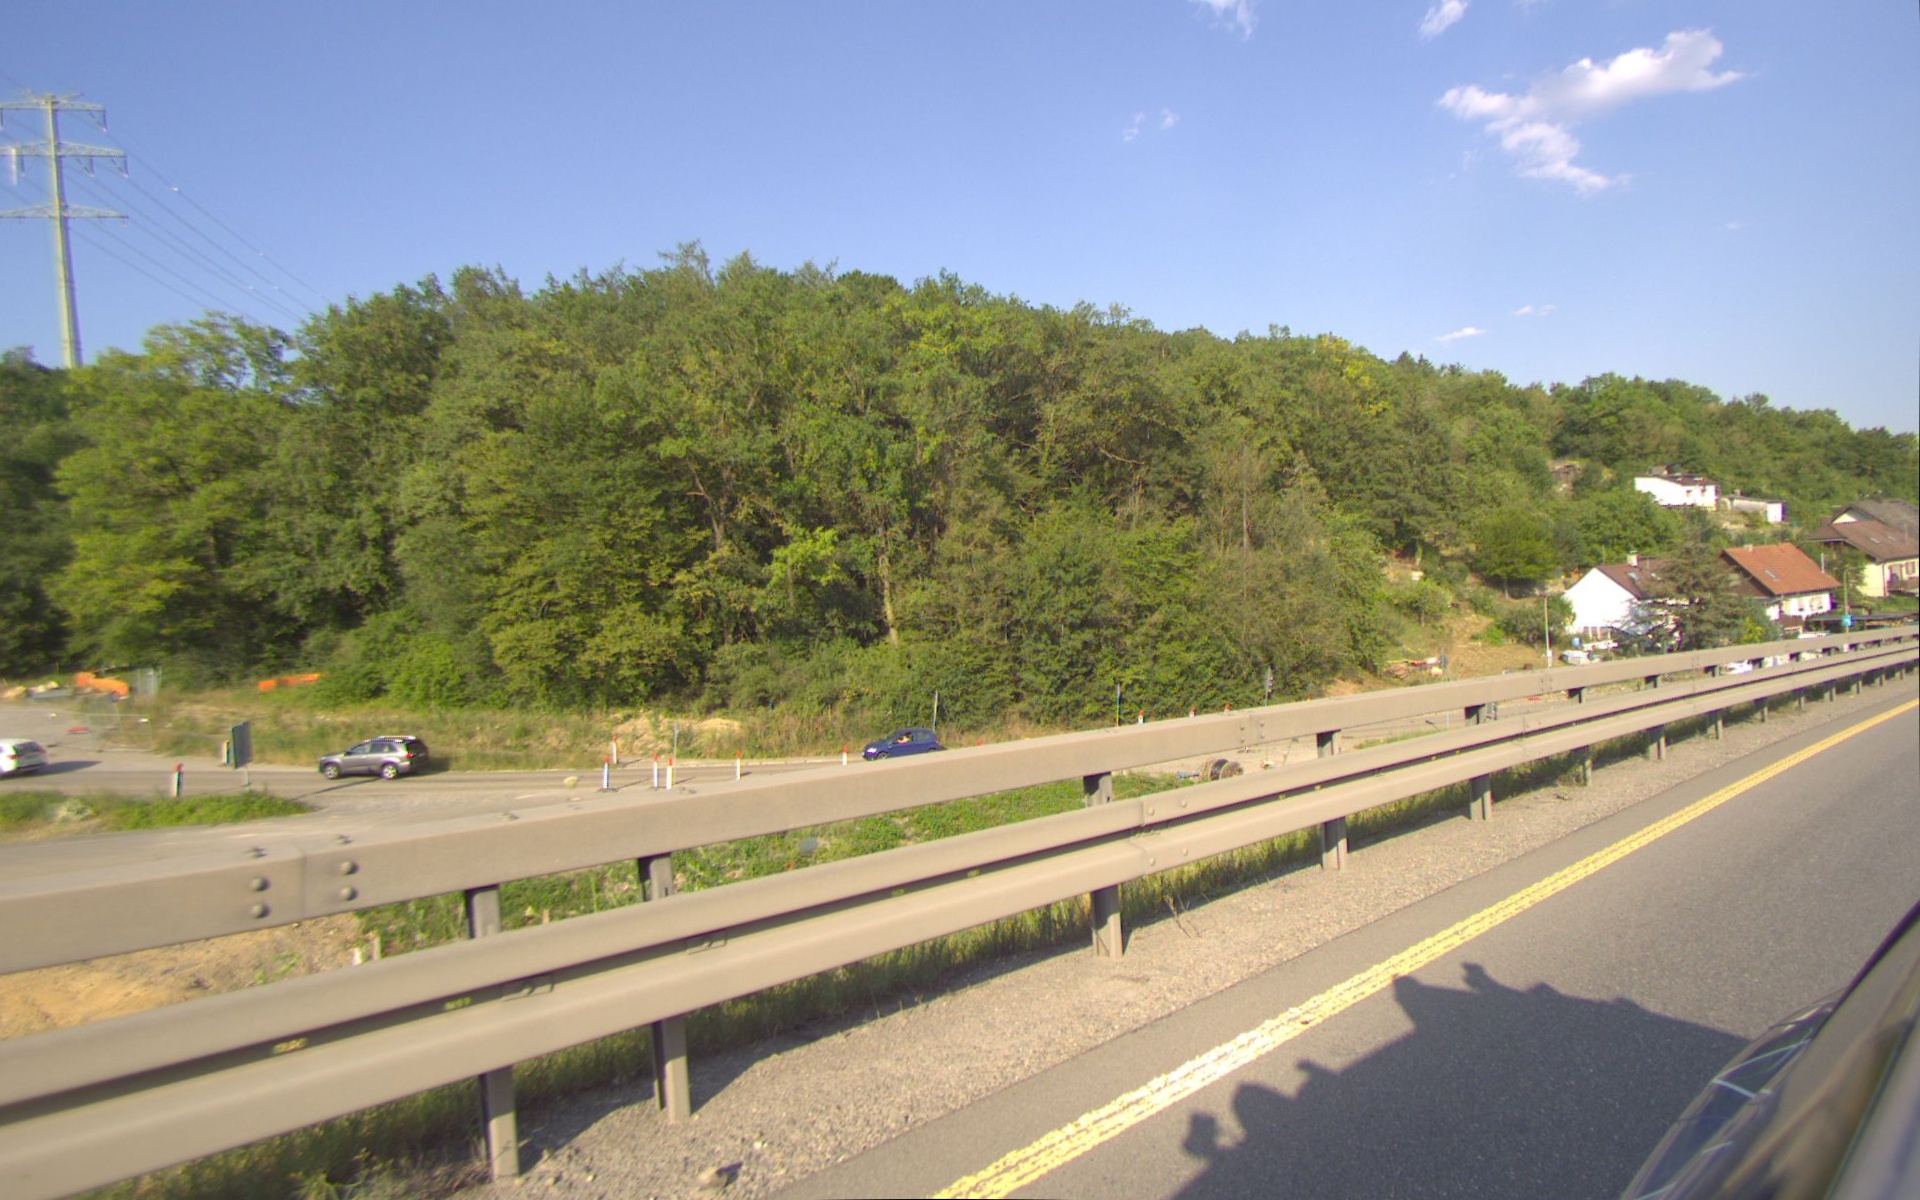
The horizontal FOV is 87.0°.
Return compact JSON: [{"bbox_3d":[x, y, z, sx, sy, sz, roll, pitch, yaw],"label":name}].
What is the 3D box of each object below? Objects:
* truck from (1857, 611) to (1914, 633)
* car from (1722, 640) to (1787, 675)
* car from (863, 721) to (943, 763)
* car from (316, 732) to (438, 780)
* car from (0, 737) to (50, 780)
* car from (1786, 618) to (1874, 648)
[{"bbox_3d":[84.747,1.991,92.737,1.970,1.760,3.984,-7,-2,13],"label":"truck"},{"bbox_3d":[58.991,4.222,75.105,4.950,2.010,1.871,-4,3,-27],"label":"car"},{"bbox_3d":[-2.755,6.824,48.684,3.542,1.619,1.776,-2,-2,-13],"label":"car"},{"bbox_3d":[-26.115,6.962,45.424,4.413,1.807,1.869,0,0,0],"label":"car"},{"bbox_3d":[-44.691,7.323,46.319,4.381,1.683,1.675,-1,-1,-6],"label":"car"},{"bbox_3d":[75.711,2.819,88.166,1.960,2.292,5.492,-3,1,-27],"label":"car"}]
